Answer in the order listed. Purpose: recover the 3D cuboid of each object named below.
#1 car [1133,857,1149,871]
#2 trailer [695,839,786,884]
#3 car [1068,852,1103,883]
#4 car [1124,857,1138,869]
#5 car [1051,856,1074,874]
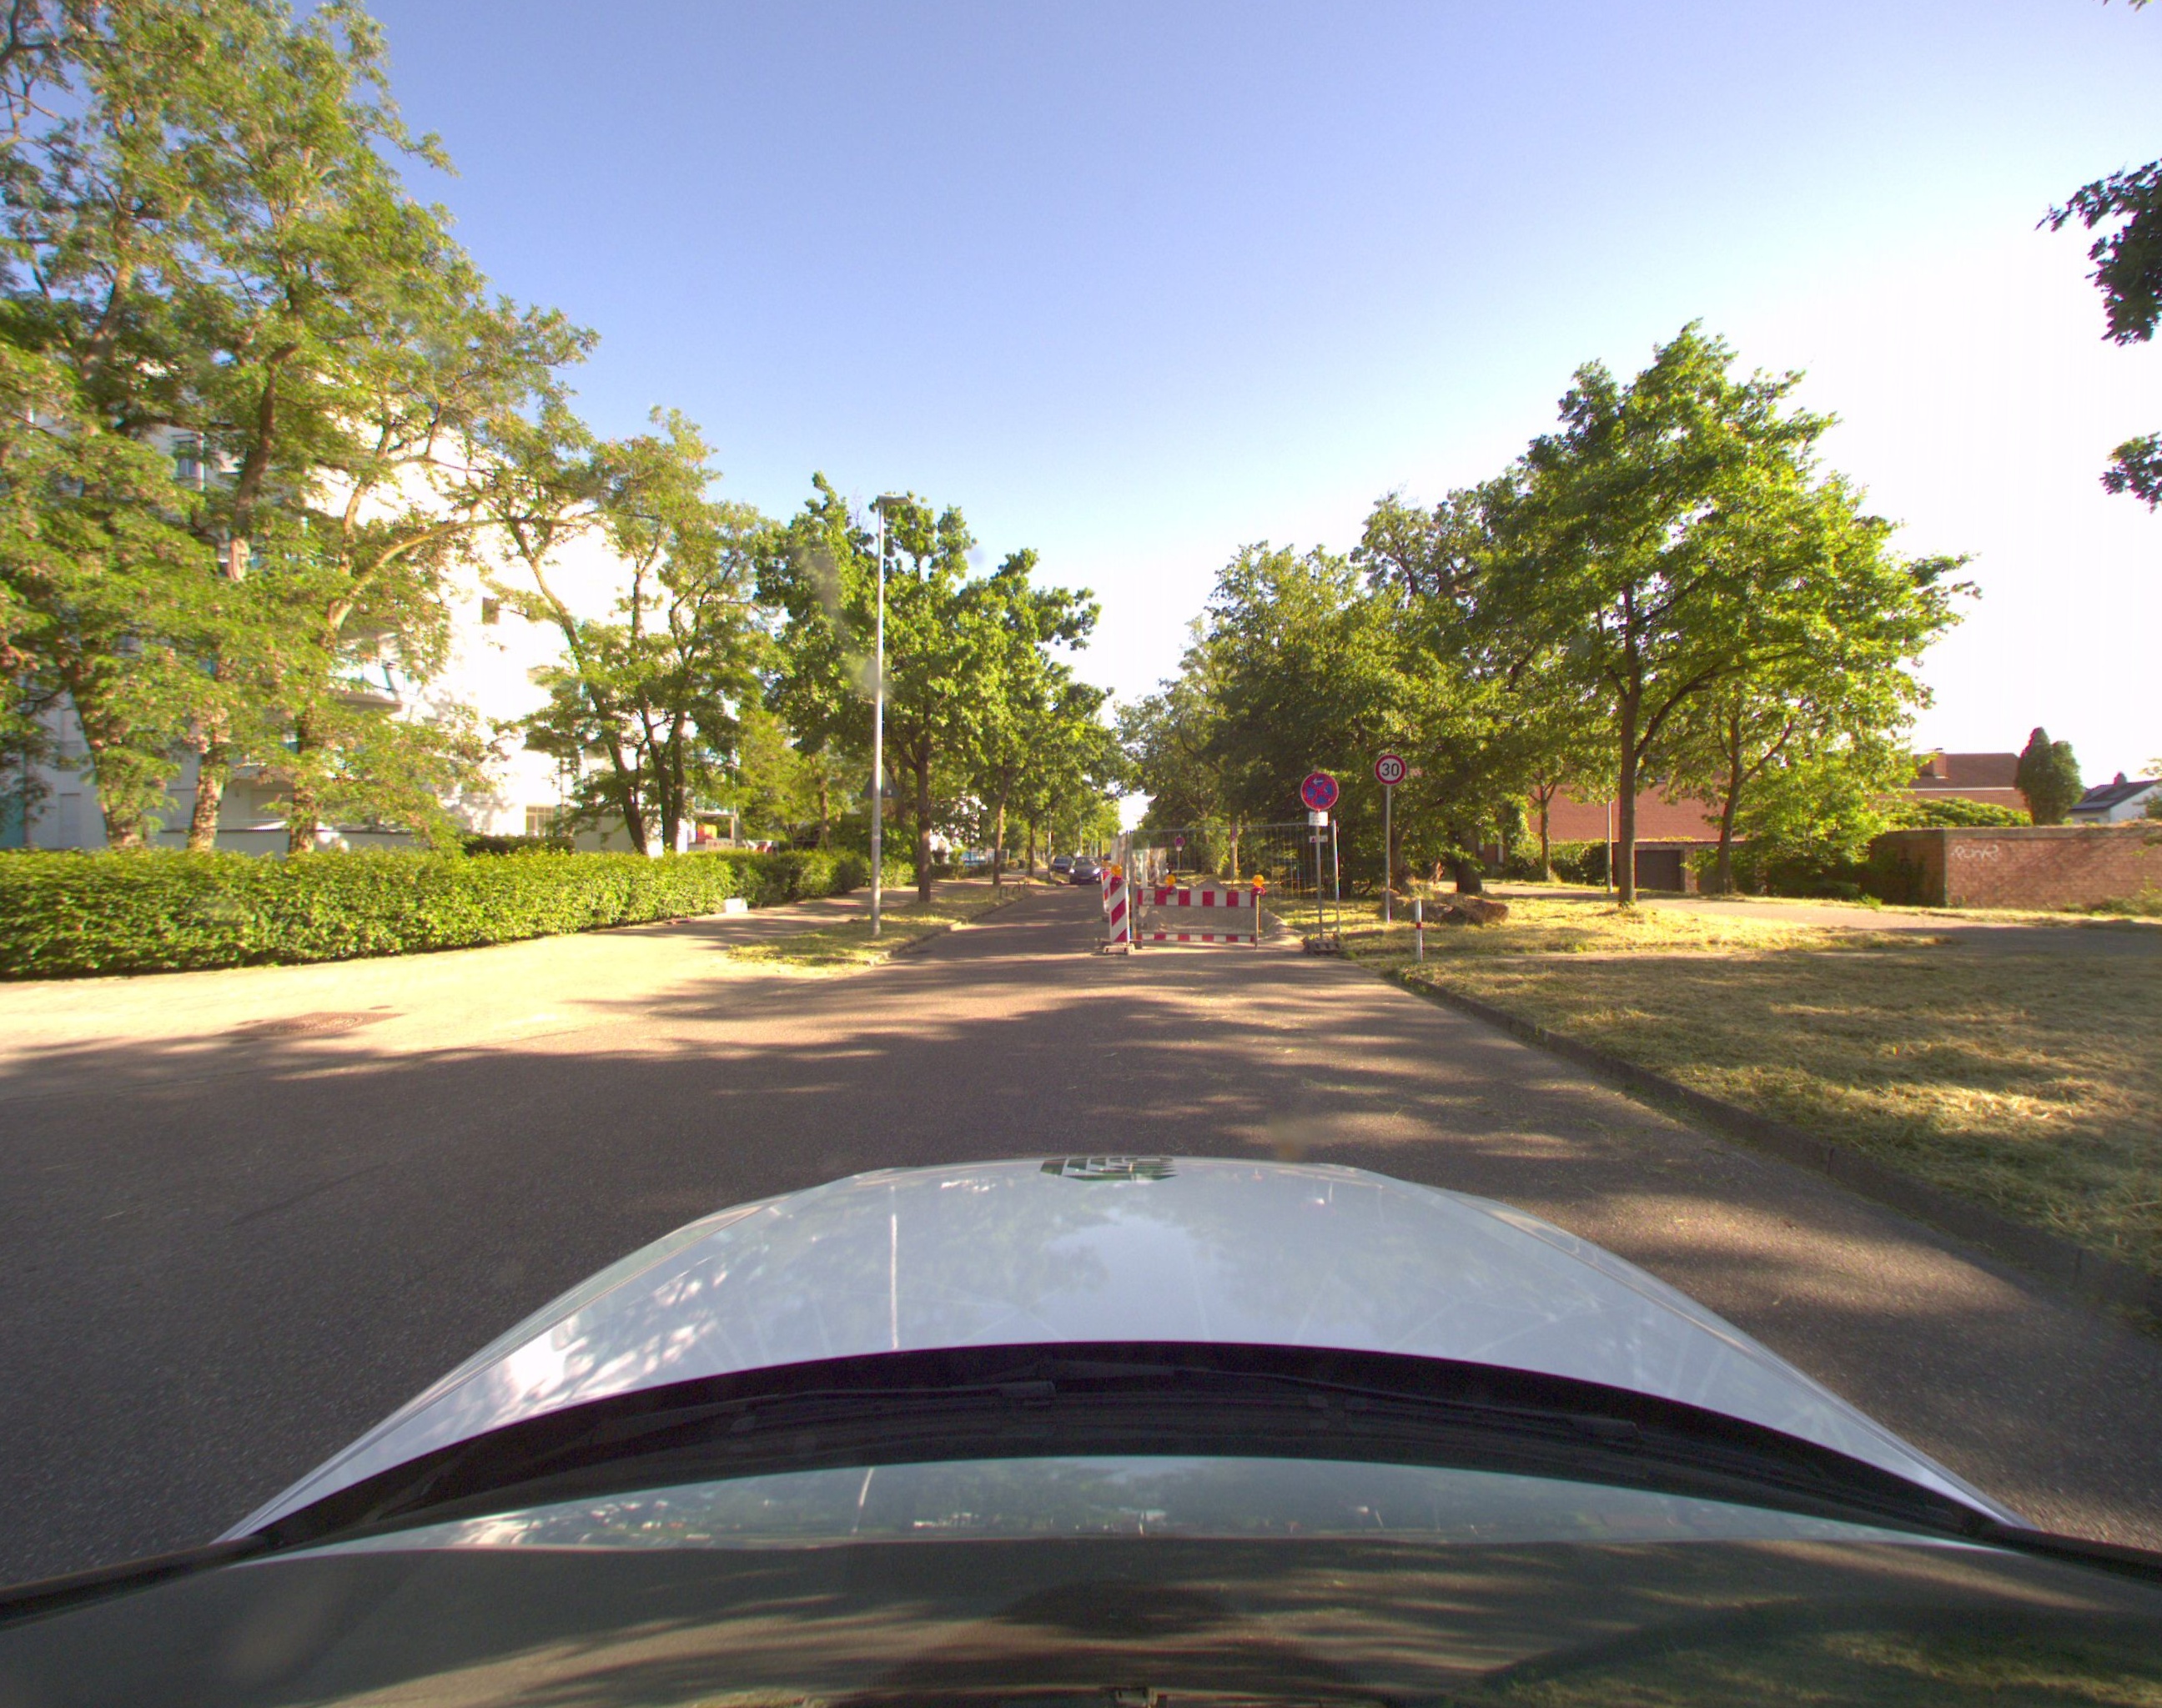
[{"bbox_3d":[5.703,0.927,77.643,1.356,1.302,3.481,1,-1,1],"label":"car"},{"bbox_3d":[-16.373,0.349,39.420,1.964,2.042,4.442,0,0,10],"label":"trailer"},{"bbox_3d":[0.303,0.766,48.135,1.814,1.625,4.496,-2,0,3],"label":"car"},{"bbox_3d":[5.533,0.988,90.637,1.356,1.302,3.481,1,-1,1],"label":"car"},{"bbox_3d":[-1.527,0.924,68.192,1.744,1.478,3.838,0,0,2],"label":"car"}]
